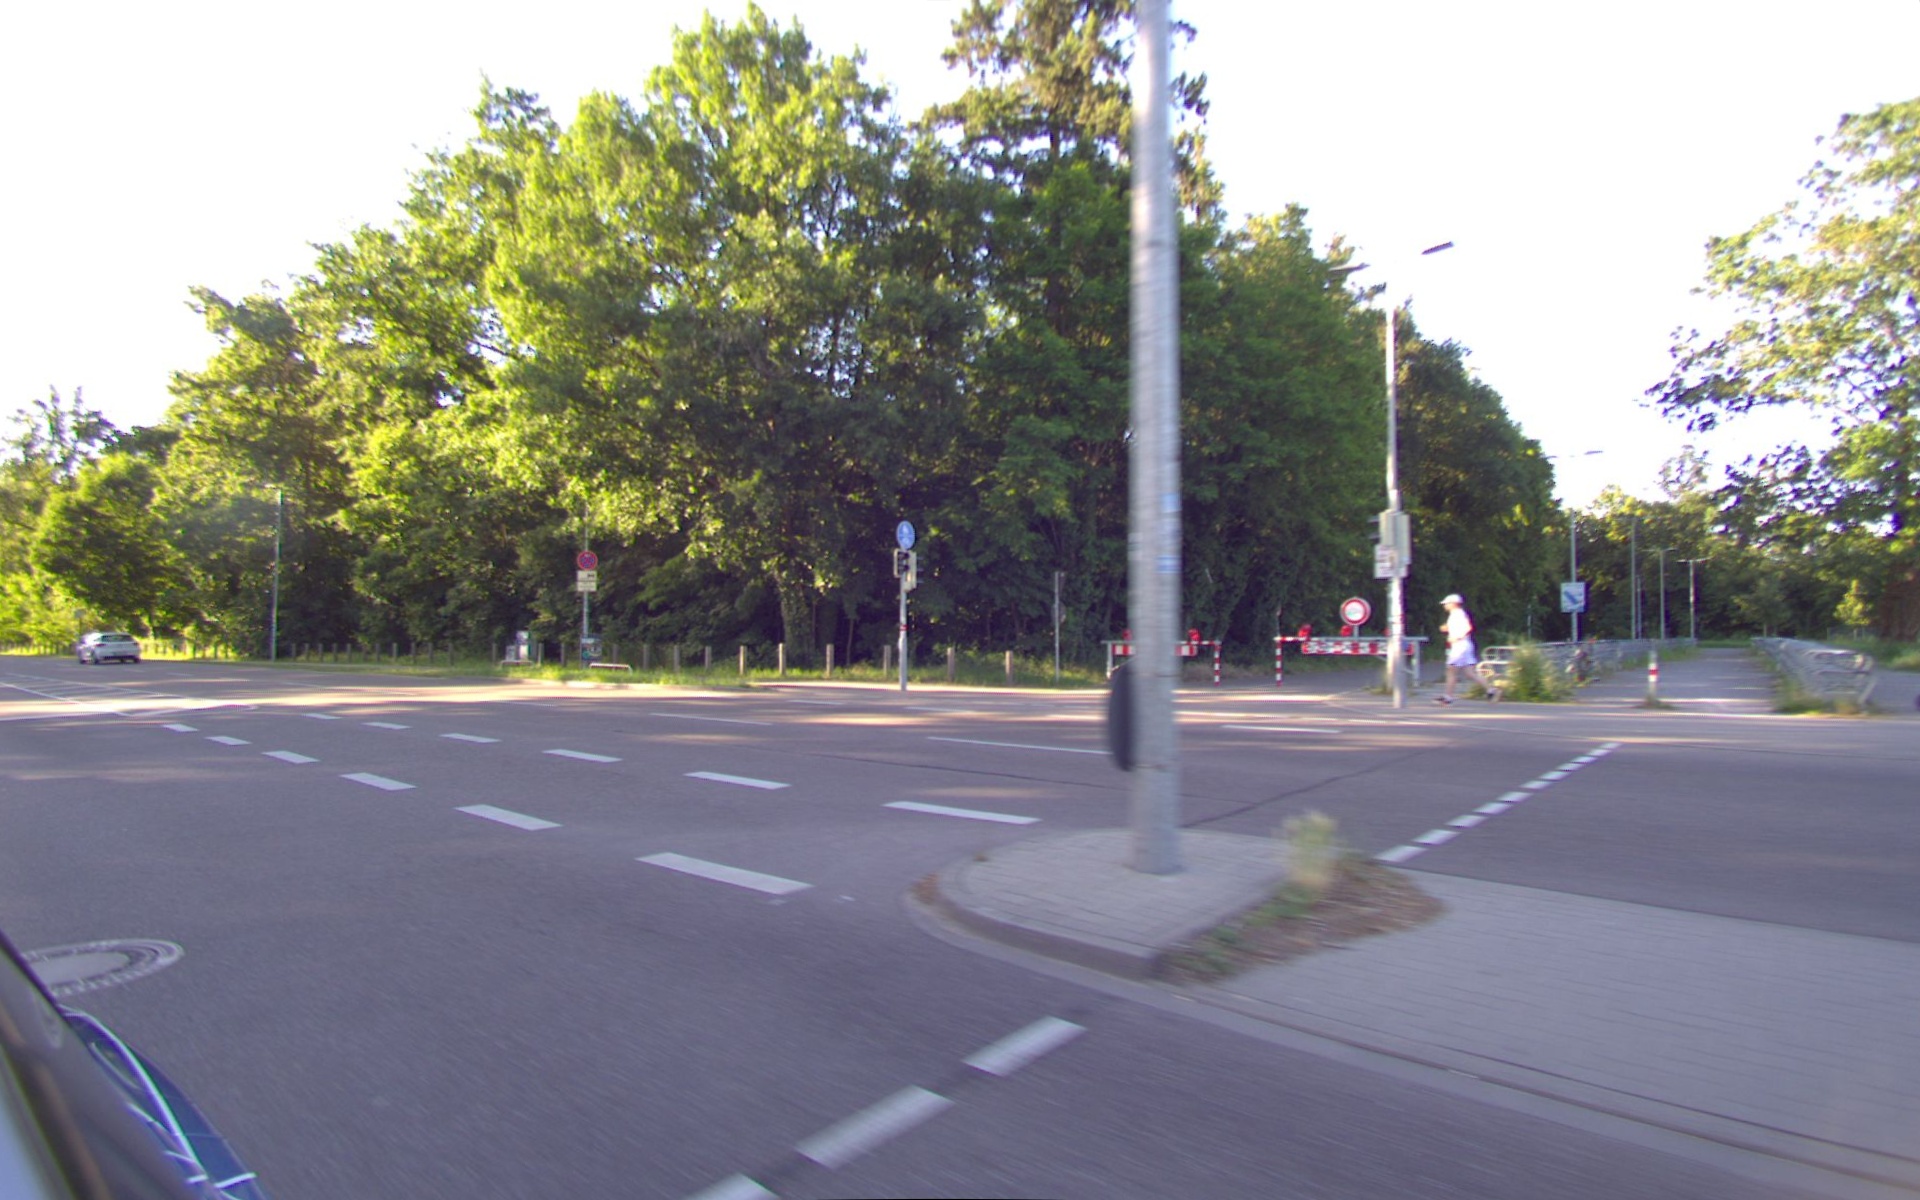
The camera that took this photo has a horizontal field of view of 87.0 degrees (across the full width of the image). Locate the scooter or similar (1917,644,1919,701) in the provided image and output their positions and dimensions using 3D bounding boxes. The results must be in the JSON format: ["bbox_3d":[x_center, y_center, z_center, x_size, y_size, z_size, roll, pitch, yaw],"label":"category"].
[{"bbox_3d":[15.556,1.282,15.374,0.505,1.234,1.362,2,-3,-35],"label":"scooter or similar"}]

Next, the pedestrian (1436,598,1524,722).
[{"bbox_3d":[8.383,0.962,16.332,1.106,1.924,0.606,-2,-4,41],"label":"pedestrian"}]

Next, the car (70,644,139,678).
[{"bbox_3d":[-39.640,2.814,46.857,4.095,1.475,1.694,-3,-2,39],"label":"car"}]
